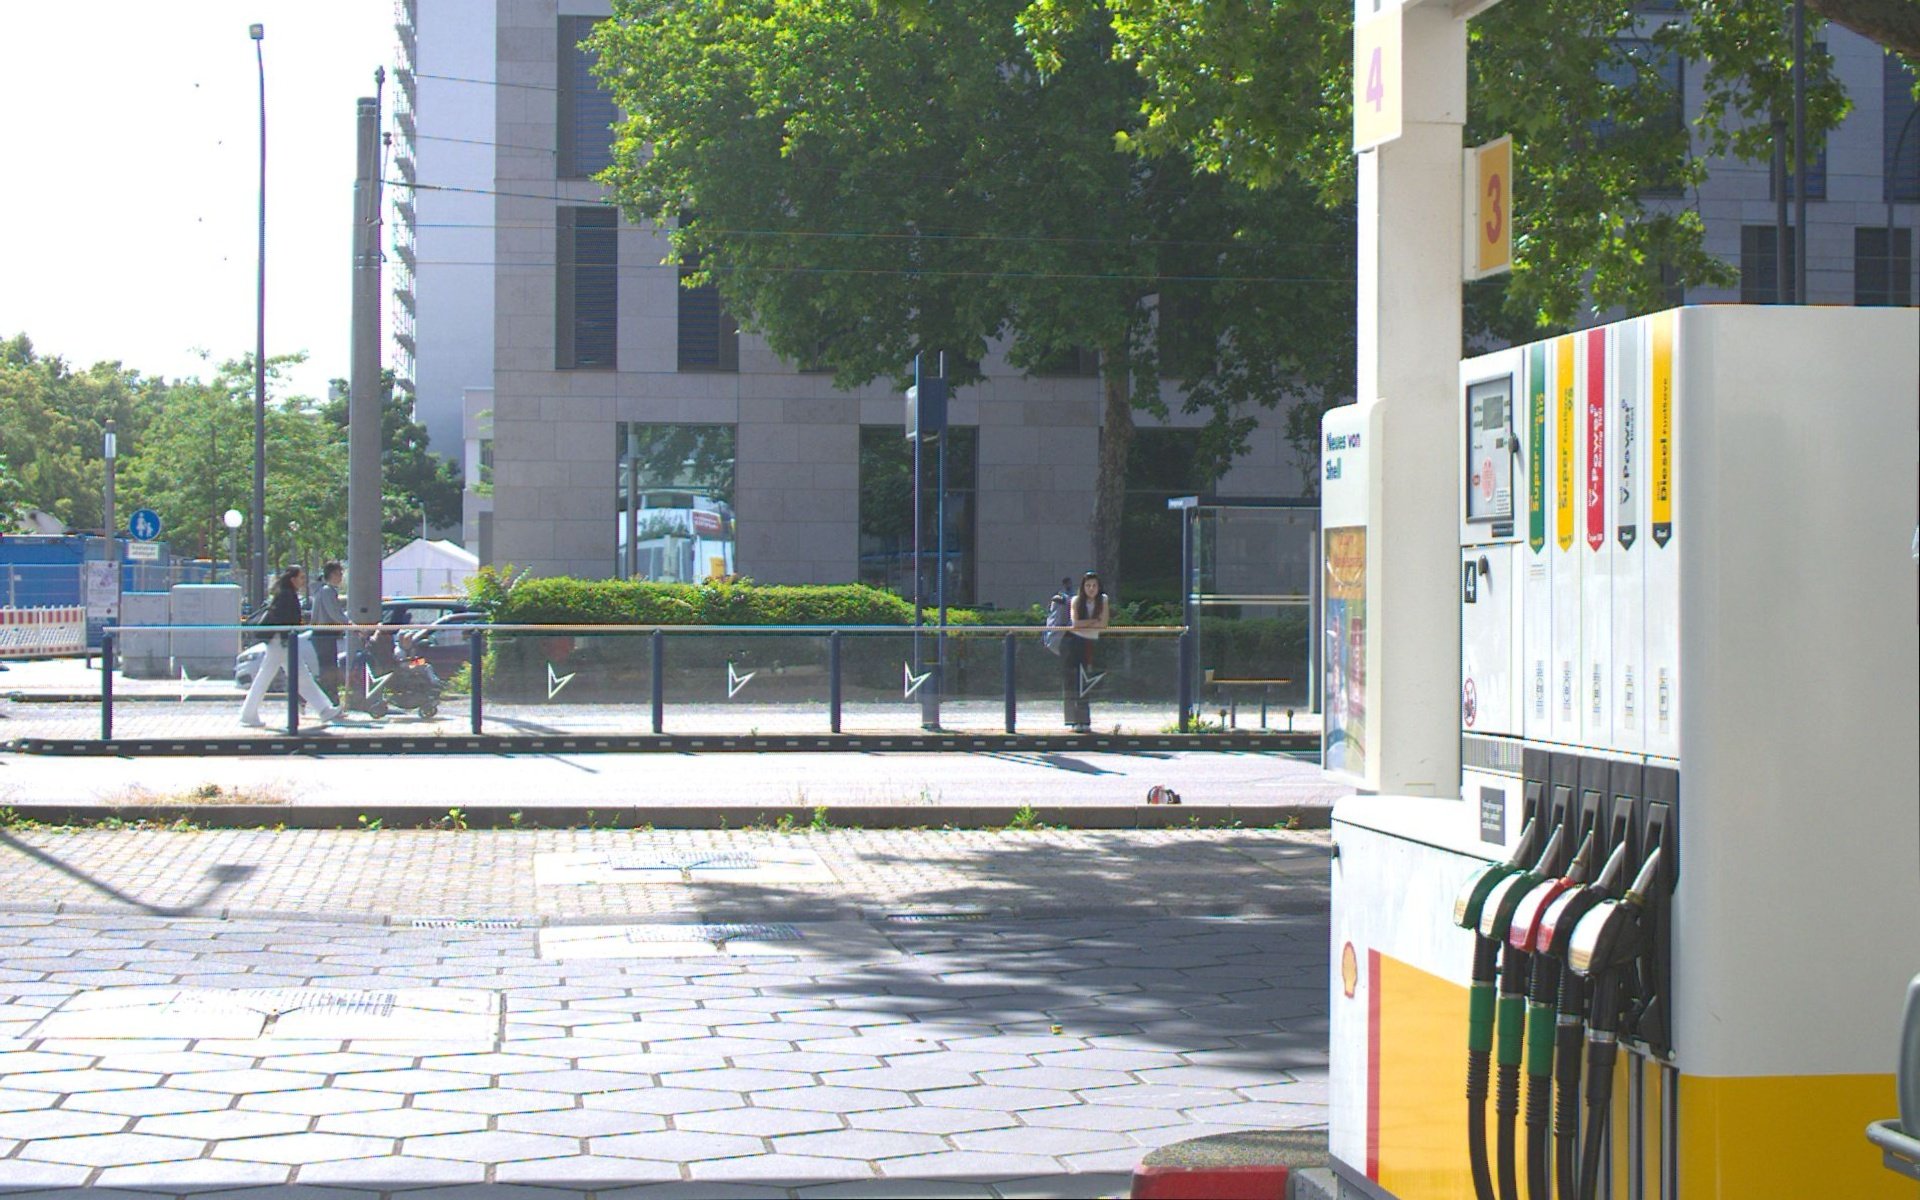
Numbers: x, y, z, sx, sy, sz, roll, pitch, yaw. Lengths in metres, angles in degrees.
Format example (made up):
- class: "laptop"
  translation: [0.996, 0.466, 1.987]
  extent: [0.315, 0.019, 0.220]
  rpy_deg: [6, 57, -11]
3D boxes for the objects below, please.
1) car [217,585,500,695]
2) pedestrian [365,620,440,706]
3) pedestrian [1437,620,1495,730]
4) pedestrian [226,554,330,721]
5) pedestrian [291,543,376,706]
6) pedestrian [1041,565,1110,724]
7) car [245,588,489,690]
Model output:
- class: "car"
  translation: [-8.816, 0.579, 50.288]
  extent: [3.986, 1.547, 1.704]
  rpy_deg: [1, 0, -12]
- class: "pedestrian"
  translation: [-5.820, 0.658, 35.906]
  extent: [0.690, 0.877, 0.503]
  rpy_deg: [1, 0, 2]
- class: "pedestrian"
  translation: [5.280, 0.780, 35.889]
  extent: [0.499, 1.134, 0.524]
  rpy_deg: [1, 0, -1]
- class: "pedestrian"
  translation: [-6.928, 0.380, 34.918]
  extent: [0.932, 1.677, 0.503]
  rpy_deg: [1, 0, 2]
- class: "pedestrian"
  translation: [-6.544, 0.253, 35.931]
  extent: [0.777, 1.677, 0.503]
  rpy_deg: [1, 0, 2]
- class: "pedestrian"
  translation: [1.179, 0.449, 35.163]
  extent: [0.584, 1.586, 0.670]
  rpy_deg: [1, 2, -8]
- class: "car"
  translation: [-9.311, 0.610, 53.904]
  extent: [3.681, 1.547, 1.592]
  rpy_deg: [1, 0, -12]
